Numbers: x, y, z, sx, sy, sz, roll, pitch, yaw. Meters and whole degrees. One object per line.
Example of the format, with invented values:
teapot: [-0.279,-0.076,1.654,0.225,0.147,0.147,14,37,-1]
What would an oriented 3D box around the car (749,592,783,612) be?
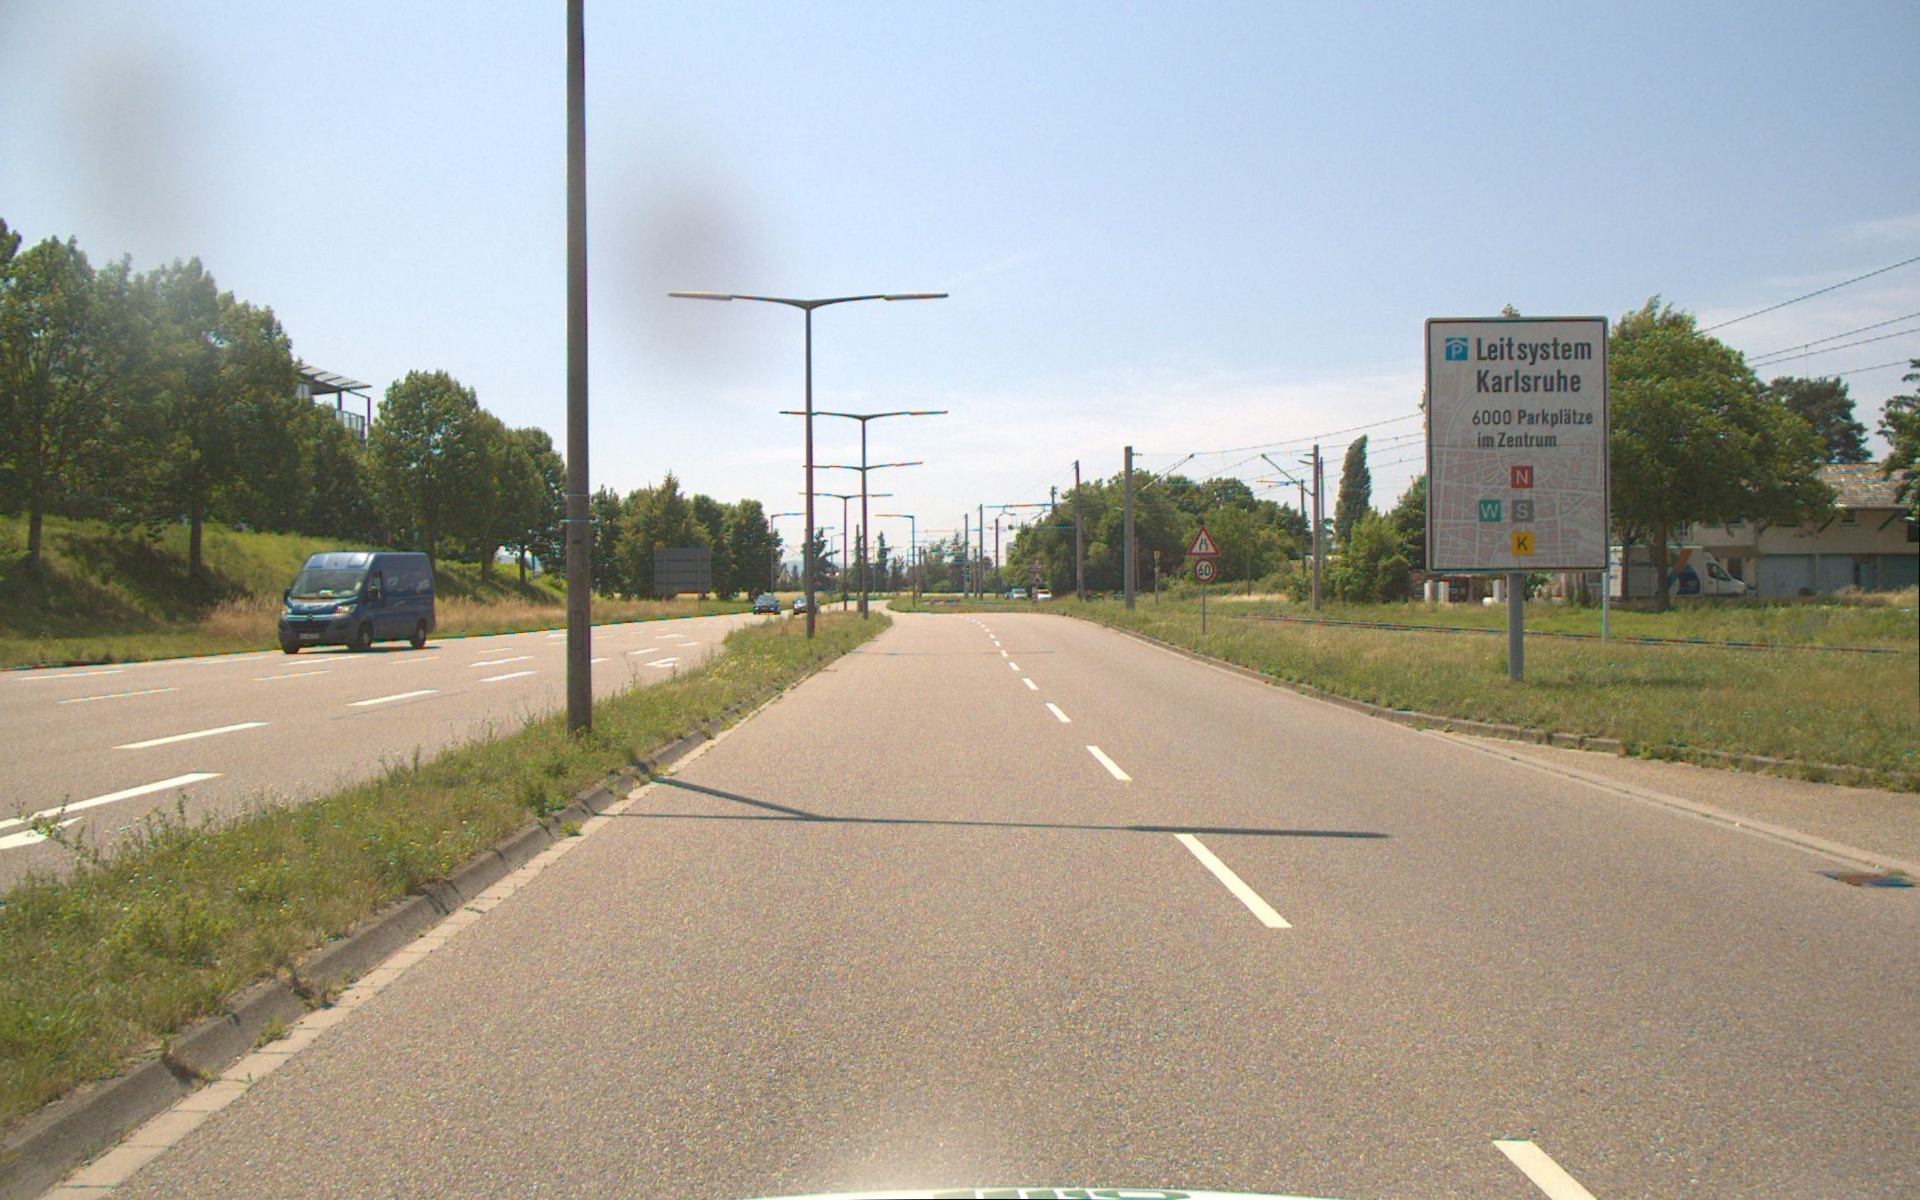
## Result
car: [-14.587,0.148,124.418,1.953,1.383,4.665,-1,0,0]

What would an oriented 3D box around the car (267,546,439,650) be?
car: [-15.280,-0.058,42.035,2.128,2.454,5.673,0,0,2]

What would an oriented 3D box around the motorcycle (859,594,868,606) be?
motorcycle: [-14.228,0.015,243.544,0.969,1.608,3.401,1,-1,2]

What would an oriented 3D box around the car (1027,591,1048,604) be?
car: [7.825,-0.240,166.809,1.533,1.200,3.074,-1,0,-8]

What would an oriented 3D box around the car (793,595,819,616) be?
car: [-11.296,0.367,121.751,1.658,1.518,3.998,-1,0,-2]

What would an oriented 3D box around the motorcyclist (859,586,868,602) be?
motorcyclist: [-14.213,-0.852,243.722,1.205,2.392,1.107,1,-1,1]

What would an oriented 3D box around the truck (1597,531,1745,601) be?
truck: [32.013,-1.504,74.543,5.733,2.893,2.315,-2,0,-10]
